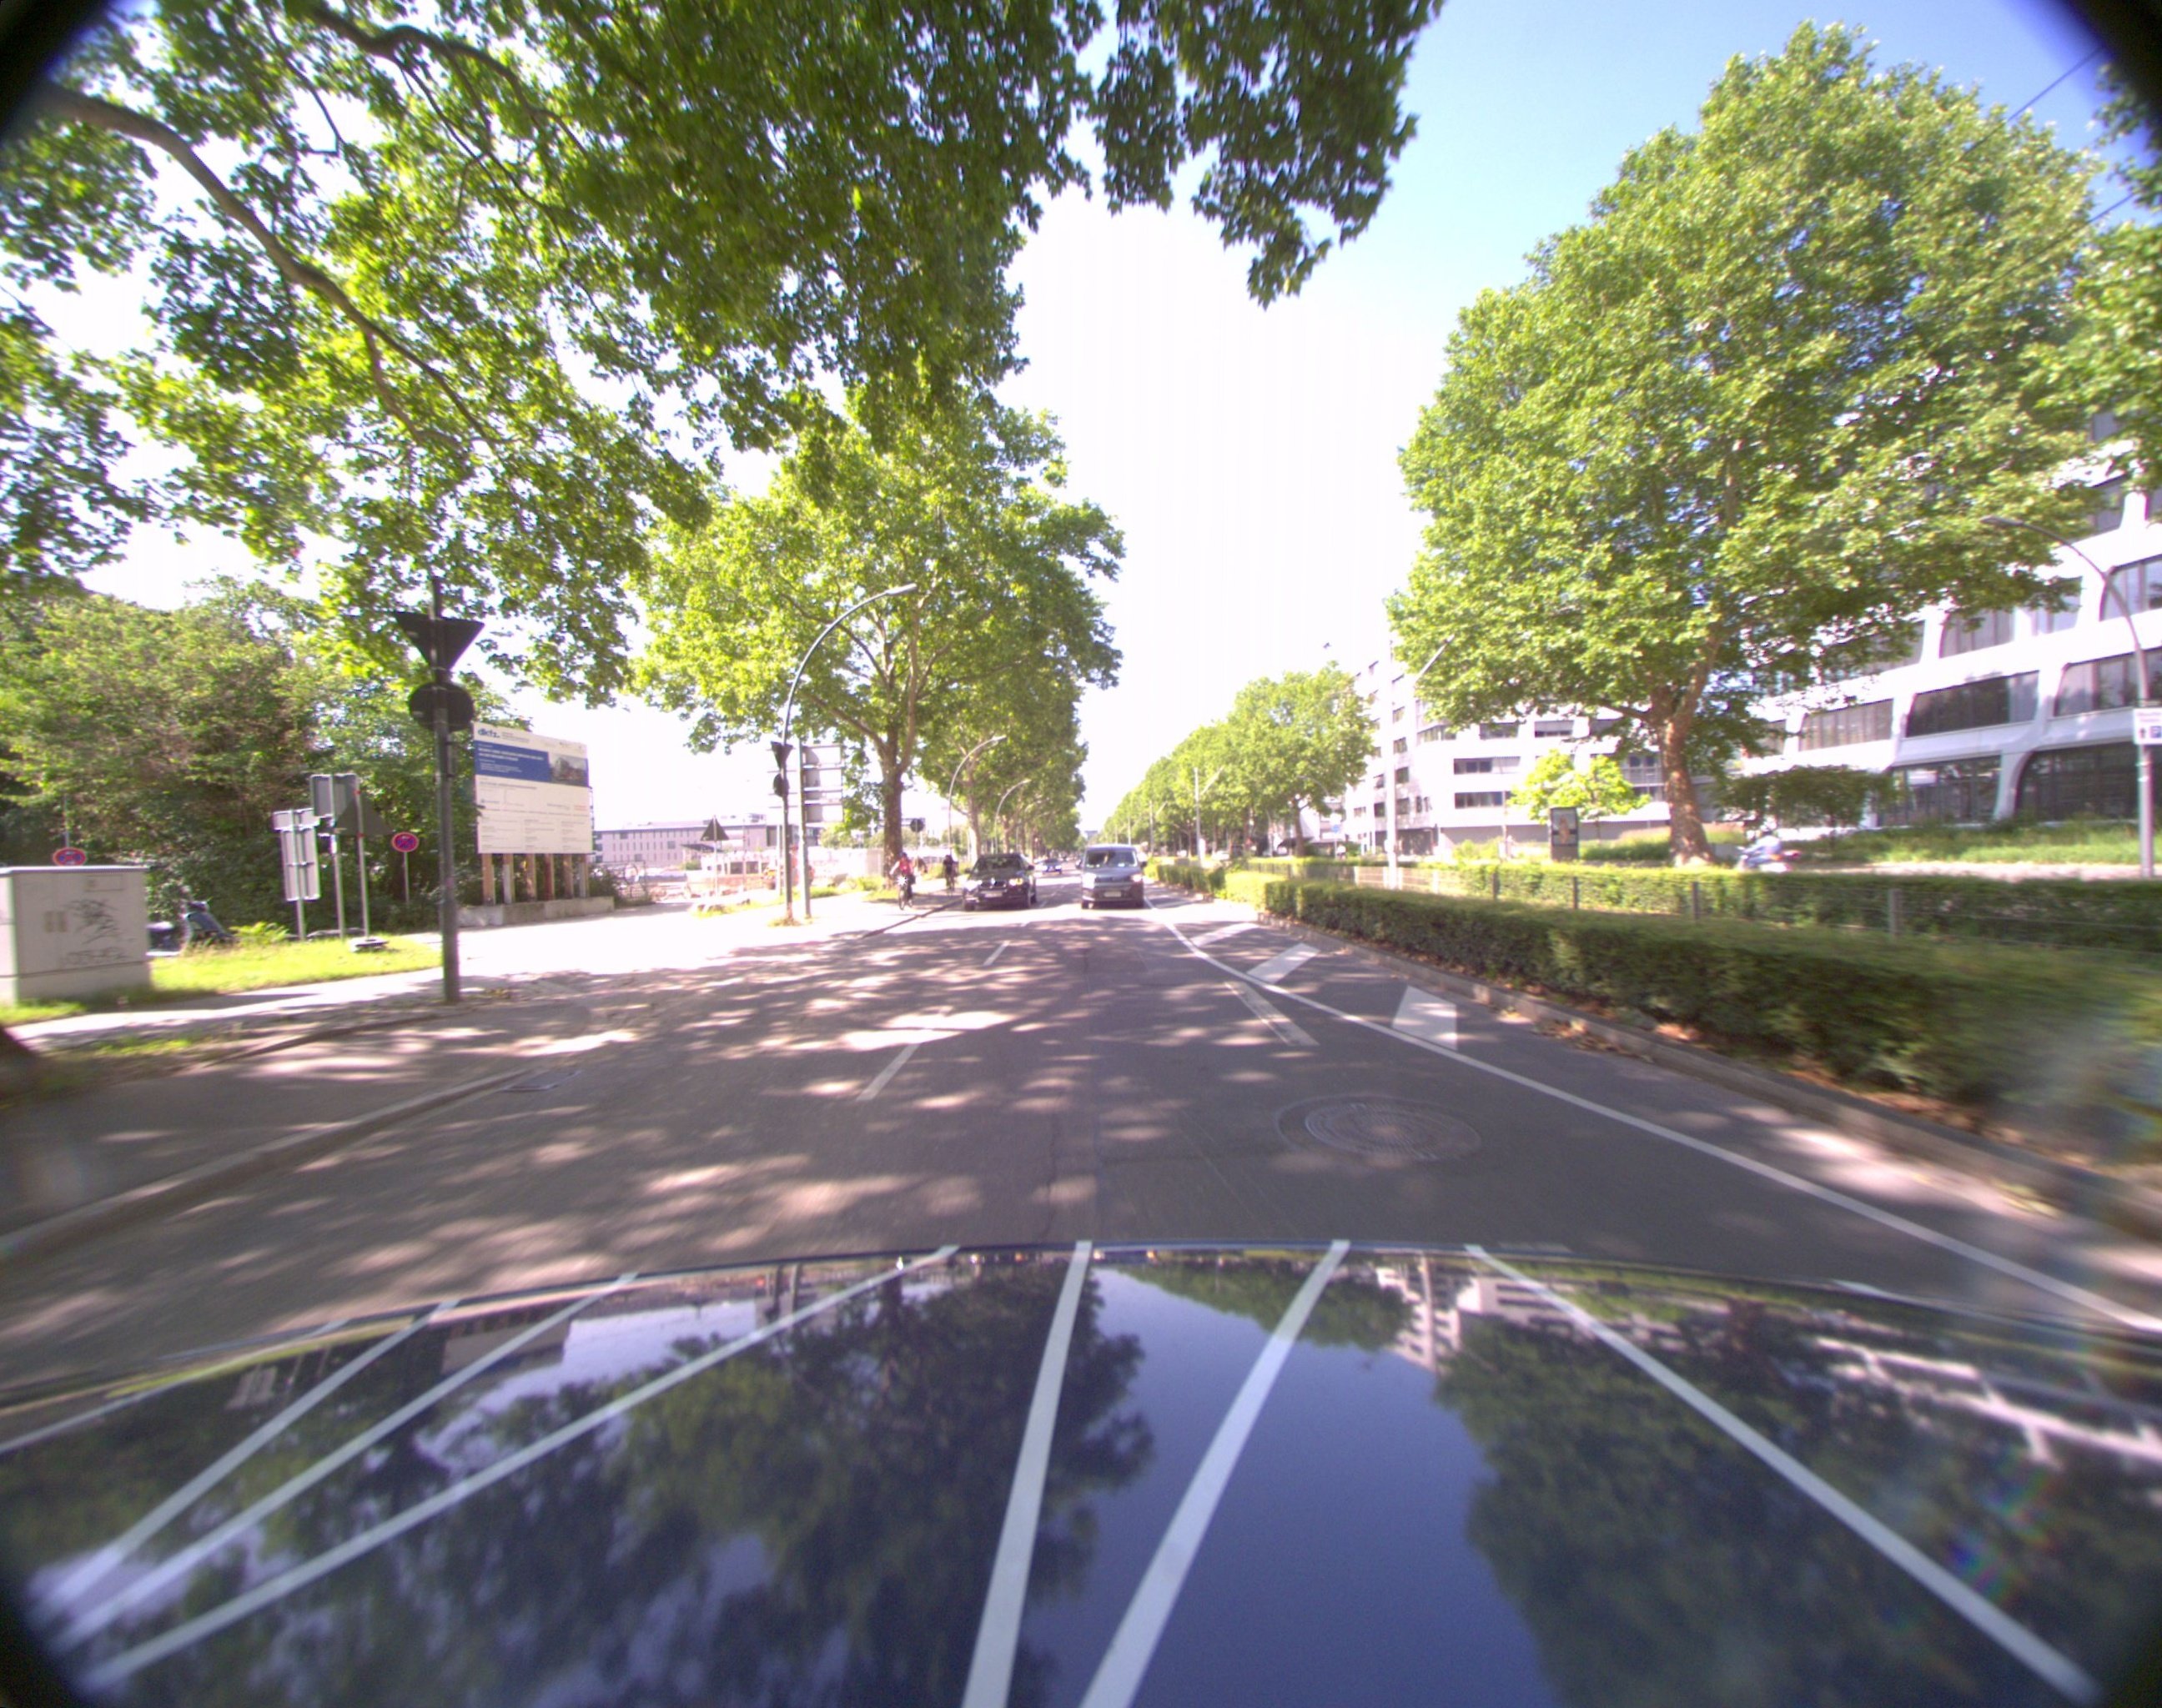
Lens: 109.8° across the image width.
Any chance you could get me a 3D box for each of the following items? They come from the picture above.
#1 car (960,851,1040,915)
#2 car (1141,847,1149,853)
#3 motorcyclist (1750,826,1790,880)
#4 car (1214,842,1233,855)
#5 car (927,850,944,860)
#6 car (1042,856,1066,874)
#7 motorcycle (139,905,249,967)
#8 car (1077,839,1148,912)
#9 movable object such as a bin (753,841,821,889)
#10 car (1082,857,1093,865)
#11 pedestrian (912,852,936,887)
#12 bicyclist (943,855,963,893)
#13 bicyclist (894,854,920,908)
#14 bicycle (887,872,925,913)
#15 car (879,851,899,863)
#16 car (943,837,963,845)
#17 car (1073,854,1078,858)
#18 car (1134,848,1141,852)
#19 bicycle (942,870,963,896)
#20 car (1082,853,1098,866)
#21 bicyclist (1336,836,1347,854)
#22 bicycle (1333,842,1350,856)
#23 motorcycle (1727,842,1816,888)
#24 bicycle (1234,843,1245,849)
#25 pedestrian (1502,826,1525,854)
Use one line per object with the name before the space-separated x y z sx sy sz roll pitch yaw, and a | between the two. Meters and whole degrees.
car | -2.427 0.827 23.839 1.924 1.720 4.151 -3 1 1
car | 16.741 -1.049 199.214 1.820 1.482 3.912 0 0 -1
motorcyclist | 18.905 -0.033 20.845 0.582 1.449 0.533 -2 1 1
car | 18.349 -0.761 97.856 1.761 1.560 4.018 -3 1 1
car | -37.876 0.195 197.583 3.998 2.309 1.808 -2 1 -3
car | -2.379 1.001 68.365 1.854 1.419 4.151 -3 1 2
motorcycle | -15.497 1.424 13.286 1.223 0.962 0.471 -3 1 -6
car | 0.862 0.523 21.462 1.789 1.840 4.000 -1 1 2
movable object such as a bin | -20.290 0.710 52.785 2.376 3.054 5.984 -3 0 -2
car | 1.270 1.303 141.412 1.854 1.419 4.151 -3 1 2
pedestrian | -8.603 0.846 41.630 0.941 1.881 1.151 -2 1 1
bicyclist | -5.196 0.803 30.830 0.600 1.481 1.214 0 1 -1
bicyclist | -5.300 0.812 23.171 0.621 1.591 0.732 0 1 -1
bicycle | -5.307 1.135 23.145 0.653 1.123 1.945 -1 1 0
car | -42.959 0.650 170.074 3.998 2.309 1.808 -2 1 -3
car | -26.854 -2.796 159.304 3.998 1.501 1.808 -2 1 -3
car | -1.873 0.757 261.441 1.860 1.445 3.999 -2 0 -1
car | 17.544 -1.245 237.385 1.860 1.445 3.999 -2 1 -1
bicycle | -5.196 1.178 30.822 0.599 0.974 1.781 0 0 -1
car | 1.097 0.647 95.183 1.854 1.419 4.151 -3 1 2
bicyclist | 21.950 -0.759 63.972 0.656 1.526 0.641 -3 1 1
bicycle | 21.969 -0.434 64.095 0.666 1.118 2.030 -3 1 1
motorcycle | 18.942 0.281 20.919 0.634 1.168 2.000 -2 1 1
bicycle | 27.959 -1.392 134.010 1.770 1.096 0.421 -2 1 -1
pedestrian | 25.236 -0.810 44.332 0.722 1.579 1.014 -3 1 1
